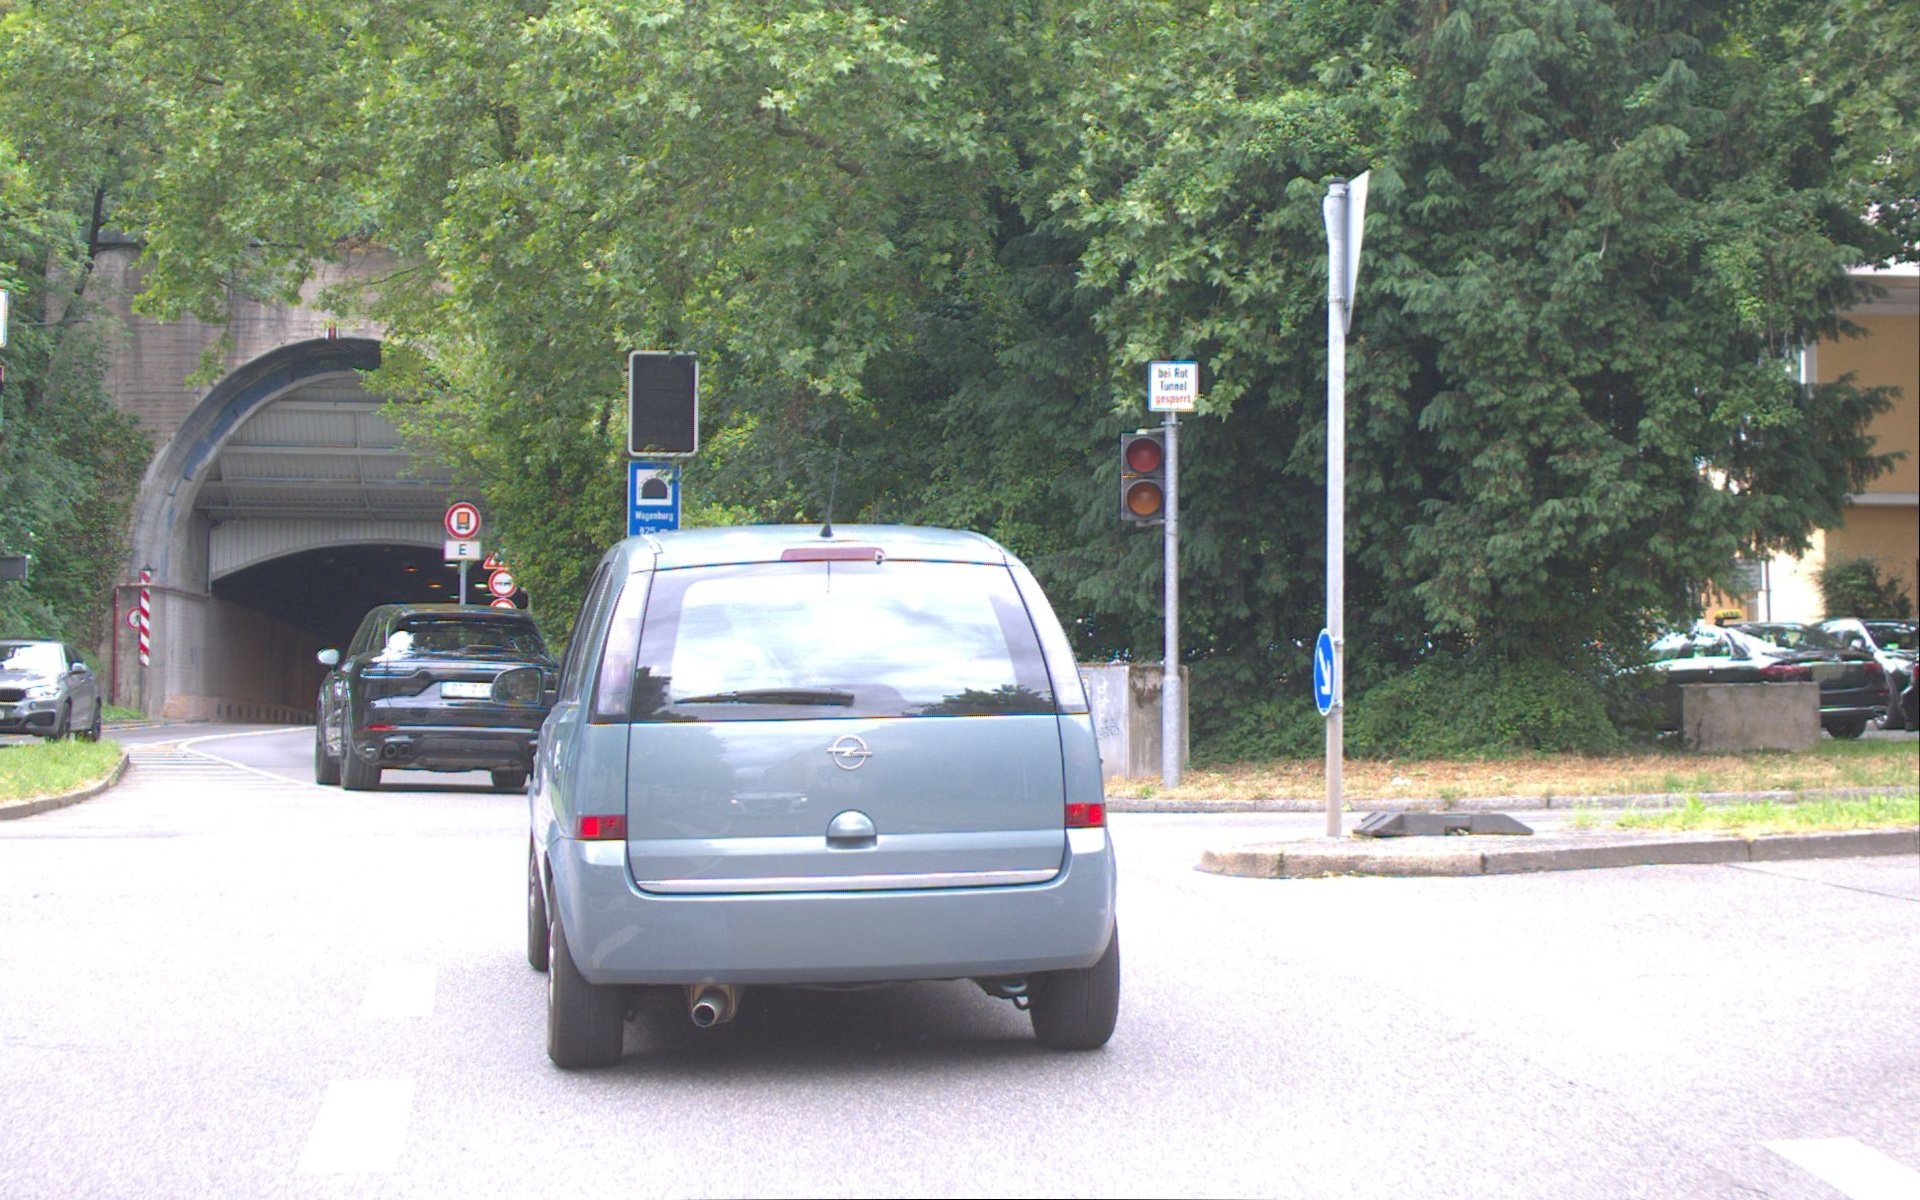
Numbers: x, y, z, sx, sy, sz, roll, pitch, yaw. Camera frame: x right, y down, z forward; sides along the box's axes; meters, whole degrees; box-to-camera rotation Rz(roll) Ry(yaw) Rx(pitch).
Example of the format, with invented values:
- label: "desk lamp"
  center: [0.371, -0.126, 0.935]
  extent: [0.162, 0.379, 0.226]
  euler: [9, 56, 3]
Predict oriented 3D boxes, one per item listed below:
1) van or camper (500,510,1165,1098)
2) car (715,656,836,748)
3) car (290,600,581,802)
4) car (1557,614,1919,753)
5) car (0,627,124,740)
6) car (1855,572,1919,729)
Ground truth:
- label: "van or camper"
  center: [-0.578, 0.545, 11.268]
  extent: [1.735, 1.572, 3.647]
  euler: [-1, 0, -9]
- label: "car"
  center: [-3.086, 1.660, 56.737]
  extent: [1.785, 1.437, 5.063]
  euler: [0, -1, -5]
- label: "car"
  center: [-4.782, 0.845, 30.900]
  extent: [1.993, 1.647, 4.001]
  euler: [-1, 0, -17]
- label: "car"
  center: [9.406, 1.015, 41.976]
  extent: [1.993, 1.573, 4.906]
  euler: [0, -1, -19]
- label: "car"
  center: [-14.590, 1.307, 54.198]
  extent: [1.869, 1.693, 4.936]
  euler: [0, -1, -3]
- label: "car"
  center: [11.120, 0.327, 33.035]
  extent: [4.419, 1.480, 1.859]
  euler: [-5, -1, 32]
